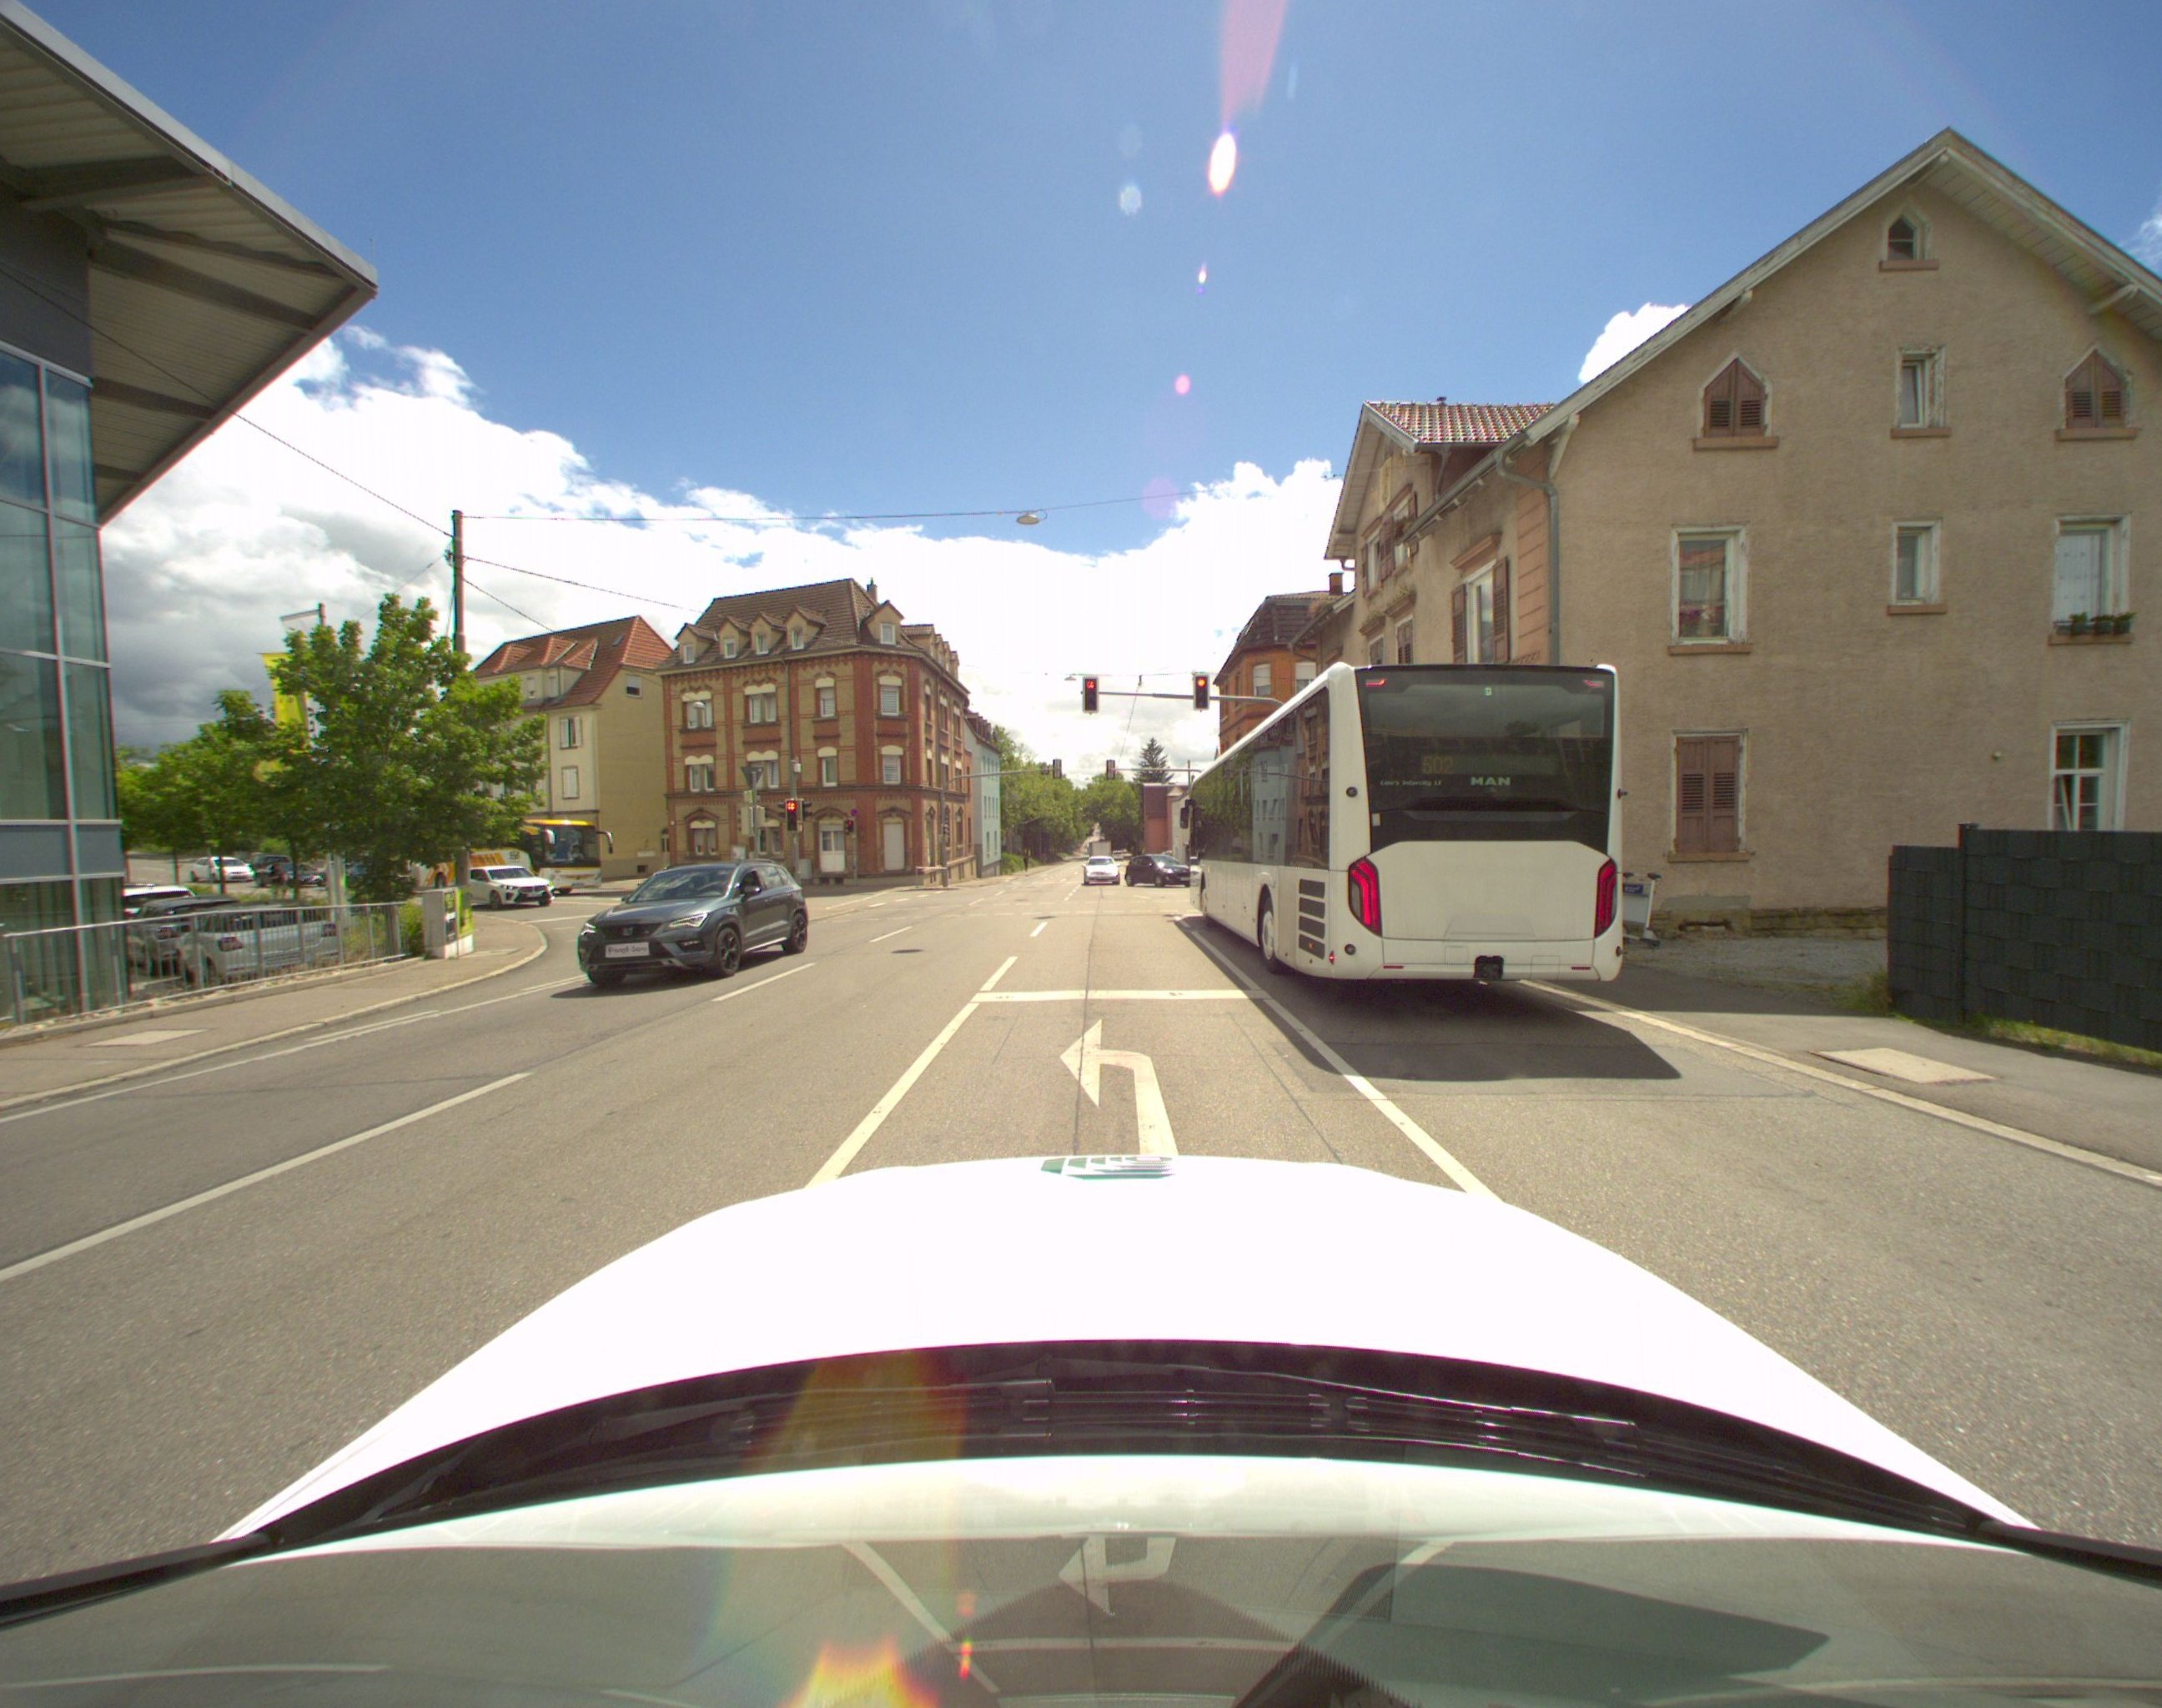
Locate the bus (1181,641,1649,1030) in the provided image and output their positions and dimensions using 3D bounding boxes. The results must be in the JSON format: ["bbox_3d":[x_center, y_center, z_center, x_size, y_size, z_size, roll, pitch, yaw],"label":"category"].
[{"bbox_3d":[3.549,-0.184,13.024,2.662,3.155,12.467,-2,0,2],"label":"bus"}]

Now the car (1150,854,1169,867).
[{"bbox_3d":[9.301,0.774,96.765,1.788,1.409,4.000,-2,0,1],"label":"car"}]

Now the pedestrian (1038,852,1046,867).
[{"bbox_3d":[-5.359,0.768,112.552,0.991,2.013,1.189,-2,0,1],"label":"pedestrian"}]

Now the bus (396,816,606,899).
[{"bbox_3d":[-28.111,0.107,39.233,12.111,3.621,2.788,0,1,26],"label":"bus"}]

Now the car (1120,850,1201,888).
[{"bbox_3d":[3.446,0.641,35.852,1.768,1.516,3.759,-2,1,-27],"label":"car"}]

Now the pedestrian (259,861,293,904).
[{"bbox_3d":[-33.249,1.167,33.644,1.129,1.734,0.764,-2,0,34],"label":"pedestrian"}]

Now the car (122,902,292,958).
[{"bbox_3d":[-28.640,2.433,26.786,1.777,1.477,3.522,-2,0,32],"label":"car"}]

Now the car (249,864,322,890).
[{"bbox_3d":[-46.057,1.319,47.162,3.949,1.409,1.923,-2,0,29],"label":"car"}]

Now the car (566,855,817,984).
[{"bbox_3d":[-5.513,0.825,12.157,1.753,1.522,3.958,-2,0,0],"label":"car"}]

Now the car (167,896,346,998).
[{"bbox_3d":[-15.943,1.697,15.731,3.321,1.560,1.693,0,2,32],"label":"car"}]

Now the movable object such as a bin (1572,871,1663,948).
[{"bbox_3d":[7.597,0.767,11.567,0.773,1.012,0.749,-2,0,2],"label":"movable object such as a bin"}]

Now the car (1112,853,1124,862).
[{"bbox_3d":[6.017,0.509,132.990,1.787,1.409,4.002,-1,0,2],"label":"car"}]

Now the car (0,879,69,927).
[{"bbox_3d":[-36.999,1.690,26.964,1.785,1.553,4.023,-2,0,25],"label":"car"}]

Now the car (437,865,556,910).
[{"bbox_3d":[-22.173,1.273,30.883,4.252,1.552,1.845,-2,0,26],"label":"car"}]

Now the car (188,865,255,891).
[{"bbox_3d":[-53.512,1.492,50.696,3.949,1.553,1.923,-2,0,29],"label":"car"}]

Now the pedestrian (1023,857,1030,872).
[{"bbox_3d":[-5.757,1.069,85.879,0.727,1.565,0.561,-1,0,0],"label":"pedestrian"}]

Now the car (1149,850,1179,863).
[{"bbox_3d":[11.832,0.326,116.822,3.978,1.757,1.998,-2,0,-3],"label":"car"}]

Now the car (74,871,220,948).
[{"bbox_3d":[-23.238,1.306,20.244,3.455,1.680,1.663,-1,2,29],"label":"car"}]

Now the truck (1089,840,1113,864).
[{"bbox_3d":[2.795,-0.288,115.053,2.918,3.081,7.880,-2,0,-1],"label":"truck"}]

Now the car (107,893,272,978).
[{"bbox_3d":[-19.567,1.712,17.863,3.455,1.526,1.626,-1,2,29],"label":"car"}]

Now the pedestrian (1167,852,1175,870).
[{"bbox_3d":[8.807,0.660,79.738,0.736,1.750,0.619,-2,0,1],"label":"pedestrian"}]

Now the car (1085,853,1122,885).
[{"bbox_3d":[1.167,0.713,40.503,1.692,1.427,4.003,-2,0,3],"label":"car"}]

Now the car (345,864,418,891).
[{"bbox_3d":[-38.812,1.301,45.170,3.949,1.409,1.762,-2,0,28],"label":"car"}]
